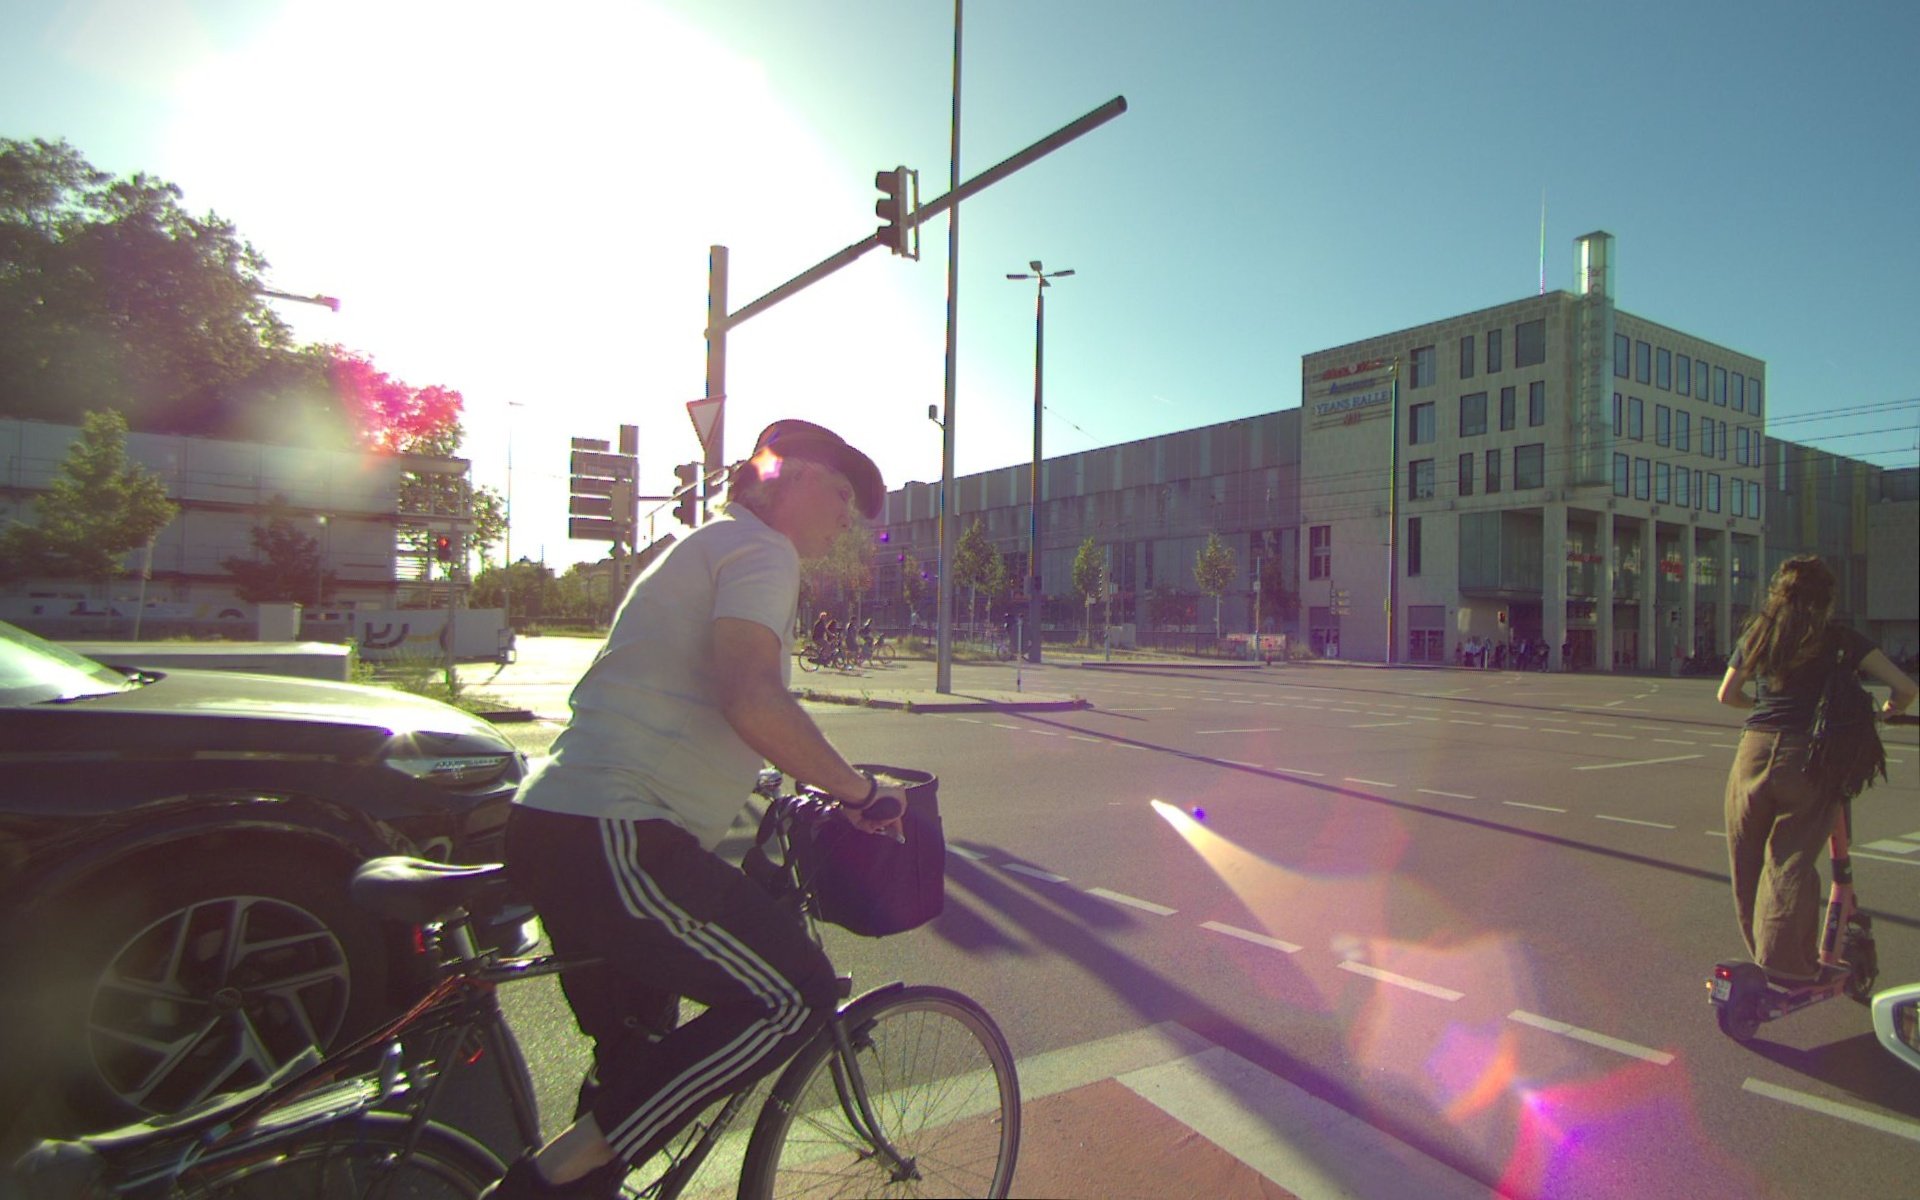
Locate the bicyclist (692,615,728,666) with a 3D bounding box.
[{"bbox_3d":[-7.197,1.157,28.895,0.832,1.420,0.800,1,-1,-28],"label":"bicyclist"}]

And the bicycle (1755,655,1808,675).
[{"bbox_3d":[51.002,4.005,62.389,0.675,1.125,2.458,2,-2,-27],"label":"bicycle"}]

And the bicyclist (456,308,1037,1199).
[{"bbox_3d":[-0.393,0.487,1.784,0.779,1.691,0.694,2,-2,-35],"label":"bicyclist"}]

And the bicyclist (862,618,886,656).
[{"bbox_3d":[-3.217,1.383,37.615,0.827,1.374,0.804,1,-1,-11],"label":"bicyclist"}]

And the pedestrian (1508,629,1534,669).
[{"bbox_3d":[30.615,2.652,54.832,1.042,2.157,1.098,1,-1,19],"label":"pedestrian"}]

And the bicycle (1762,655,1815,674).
[{"bbox_3d":[52.032,4.047,63.083,0.824,1.125,2.458,2,-2,-27],"label":"bicycle"}]

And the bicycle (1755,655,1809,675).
[{"bbox_3d":[50.445,3.977,61.686,0.824,1.125,2.458,2,-2,-27],"label":"bicycle"}]

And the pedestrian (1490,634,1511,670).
[{"bbox_3d":[31.262,3.004,58.101,0.899,2.040,1.024,1,-1,21],"label":"pedestrian"}]

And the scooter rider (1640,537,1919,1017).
[{"bbox_3d":[3.237,0.591,3.844,1.105,1.564,0.638,2,0,-32],"label":"scooter rider"}]

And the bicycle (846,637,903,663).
[{"bbox_3d":[-3.215,1.874,37.610,2.041,0.939,0.804,1,-1,-12],"label":"bicycle"}]

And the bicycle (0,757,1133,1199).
[{"bbox_3d":[-0.607,0.905,1.631,1.783,1.108,0.702,2,-2,-36],"label":"bicycle"}]

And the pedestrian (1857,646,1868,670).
[{"bbox_3d":[76.826,4.940,85.467,0.475,2.040,0.610,2,0,-43],"label":"pedestrian"}]

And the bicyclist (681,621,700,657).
[{"bbox_3d":[-9.924,1.434,36.952,0.626,1.287,0.803,1,-1,-13],"label":"bicyclist"}]

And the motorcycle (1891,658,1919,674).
[{"bbox_3d":[67.395,4.649,70.634,0.907,1.009,2.650,2,0,-35],"label":"motorcycle"}]

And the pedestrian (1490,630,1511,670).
[{"bbox_3d":[29.617,2.716,55.052,0.880,2.152,0.947,1,-1,19],"label":"pedestrian"}]

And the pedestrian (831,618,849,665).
[{"bbox_3d":[-4.058,1.408,33.998,0.445,1.587,0.516,1,-1,-29],"label":"pedestrian"}]

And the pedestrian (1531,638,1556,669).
[{"bbox_3d":[31.920,2.914,54.991,0.988,1.672,0.949,1,-1,18],"label":"pedestrian"}]

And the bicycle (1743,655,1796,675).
[{"bbox_3d":[48.547,3.900,60.285,0.530,1.125,2.458,2,-2,-27],"label":"bicycle"}]

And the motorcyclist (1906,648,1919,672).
[{"bbox_3d":[67.433,4.218,70.620,0.907,1.596,1.129,2,0,-36],"label":"motorcyclist"}]

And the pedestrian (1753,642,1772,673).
[{"bbox_3d":[54.224,3.874,67.851,0.933,2.008,1.004,1,-1,37],"label":"pedestrian"}]

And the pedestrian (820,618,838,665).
[{"bbox_3d":[-4.492,1.423,34.514,0.445,1.587,0.516,1,-1,-29],"label":"pedestrian"}]

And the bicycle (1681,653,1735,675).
[{"bbox_3d":[42.158,3.617,56.627,0.650,1.127,2.392,2,-2,-28],"label":"bicycle"}]

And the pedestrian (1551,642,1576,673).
[{"bbox_3d":[31.934,3.028,53.159,0.926,1.592,0.842,1,-1,13],"label":"pedestrian"}]

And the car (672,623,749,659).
[{"bbox_3d":[-10.535,1.680,42.258,1.979,1.394,3.963,1,-1,-33],"label":"car"}]

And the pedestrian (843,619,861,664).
[{"bbox_3d":[-3.848,1.470,35.689,0.445,1.587,0.516,1,-1,-29],"label":"pedestrian"}]

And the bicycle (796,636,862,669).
[{"bbox_3d":[-4.093,1.638,31.374,1.946,1.010,0.647,1,-1,-17],"label":"bicycle"}]

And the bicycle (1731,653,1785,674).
[{"bbox_3d":[46.842,3.713,58.986,0.675,1.125,2.458,2,-2,-27],"label":"bicycle"}]

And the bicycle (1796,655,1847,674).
[{"bbox_3d":[55.737,4.189,65.005,0.652,1.125,2.458,2,-2,-27],"label":"bicycle"}]

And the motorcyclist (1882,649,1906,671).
[{"bbox_3d":[64.306,4.121,69.175,0.907,1.490,1.029,2,0,-36],"label":"motorcyclist"}]

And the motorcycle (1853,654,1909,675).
[{"bbox_3d":[62.300,4.331,68.002,0.907,1.233,2.650,2,0,-35],"label":"motorcycle"}]

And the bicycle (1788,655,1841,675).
[{"bbox_3d":[54.950,4.170,64.633,0.824,1.125,2.458,2,-2,-27],"label":"bicycle"}]

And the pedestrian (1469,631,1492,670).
[{"bbox_3d":[29.788,2.886,57.497,0.939,2.152,0.888,2,-2,-40],"label":"pedestrian"}]

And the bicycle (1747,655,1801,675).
[{"bbox_3d":[49.091,3.924,60.610,0.675,1.125,2.458,2,-2,-27],"label":"bicycle"}]

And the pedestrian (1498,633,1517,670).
[{"bbox_3d":[30.794,2.900,56.457,0.901,2.040,1.022,1,-1,30],"label":"pedestrian"}]

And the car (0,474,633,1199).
[{"bbox_3d":[-3.593,0.533,2.769,4.739,1.684,2.182,2,-2,-32],"label":"car"}]

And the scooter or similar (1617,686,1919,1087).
[{"bbox_3d":[3.232,0.961,3.838,1.467,1.191,0.638,2,0,-32],"label":"scooter or similar"}]

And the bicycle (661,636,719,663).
[{"bbox_3d":[-9.909,1.821,36.941,2.041,0.939,0.803,1,-1,-13],"label":"bicycle"}]

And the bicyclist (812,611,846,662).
[{"bbox_3d":[-4.097,1.133,31.385,0.926,1.565,0.647,1,-1,-17],"label":"bicyclist"}]

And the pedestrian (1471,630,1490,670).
[{"bbox_3d":[28.662,2.731,55.292,0.882,2.152,0.946,1,-1,27],"label":"pedestrian"}]

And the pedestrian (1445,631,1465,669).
[{"bbox_3d":[28.737,2.878,58.266,0.883,2.152,0.944,0,-1,35],"label":"pedestrian"}]

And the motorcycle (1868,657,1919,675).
[{"bbox_3d":[64.349,4.527,69.114,0.907,1.009,2.650,2,0,-35],"label":"motorcycle"}]

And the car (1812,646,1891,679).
[{"bbox_3d":[46.219,3.204,52.061,4.245,1.601,1.928,2,-2,-31],"label":"car"}]

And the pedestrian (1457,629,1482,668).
[{"bbox_3d":[28.754,2.742,56.739,0.936,2.152,0.891,2,-1,-31],"label":"pedestrian"}]

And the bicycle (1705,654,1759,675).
[{"bbox_3d":[44.495,3.698,57.934,0.675,1.125,2.460,2,-2,-26],"label":"bicycle"}]

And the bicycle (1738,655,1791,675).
[{"bbox_3d":[48.043,3.880,60.003,0.586,1.125,2.458,2,-2,-27],"label":"bicycle"}]

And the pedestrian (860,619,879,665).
[{"bbox_3d":[-3.155,1.472,35.000,0.445,1.587,0.516,1,-1,-29],"label":"pedestrian"}]

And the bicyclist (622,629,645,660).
[{"bbox_3d":[-13.993,1.898,43.040,0.796,1.315,0.770,1,-1,-31],"label":"bicyclist"}]

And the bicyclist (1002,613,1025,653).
[{"bbox_3d":[2.079,1.282,39.264,0.609,1.525,0.751,1,-1,-26],"label":"bicyclist"}]

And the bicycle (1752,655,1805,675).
[{"bbox_3d":[49.727,3.943,61.045,0.675,1.125,2.458,2,-2,-27],"label":"bicycle"}]

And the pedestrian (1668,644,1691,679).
[{"bbox_3d":[37.256,3.167,51.993,0.748,1.763,0.747,2,-1,-31],"label":"pedestrian"}]

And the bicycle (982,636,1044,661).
[{"bbox_3d":[2.083,1.908,39.265,2.364,0.953,0.751,2,-1,-27],"label":"bicycle"}]

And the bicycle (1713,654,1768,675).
[{"bbox_3d":[45.234,3.708,58.246,0.675,1.125,2.458,2,-2,-27],"label":"bicycle"}]

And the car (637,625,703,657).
[{"bbox_3d":[-13.913,1.935,48.038,1.979,1.394,3.963,1,-1,-33],"label":"car"}]

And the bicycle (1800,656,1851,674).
[{"bbox_3d":[56.322,4.221,65.380,0.652,1.125,2.458,2,-2,-27],"label":"bicycle"}]

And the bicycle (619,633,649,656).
[{"bbox_3d":[-13.988,1.898,43.032,0.796,0.939,2.060,1,-1,-30],"label":"bicycle"}]

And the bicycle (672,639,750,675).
[{"bbox_3d":[-7.160,1.626,28.898,2.051,0.991,0.799,1,-1,-29],"label":"bicycle"}]

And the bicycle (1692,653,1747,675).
[{"bbox_3d":[43.302,3.652,57.306,0.675,1.125,2.458,2,-2,-28],"label":"bicycle"}]
